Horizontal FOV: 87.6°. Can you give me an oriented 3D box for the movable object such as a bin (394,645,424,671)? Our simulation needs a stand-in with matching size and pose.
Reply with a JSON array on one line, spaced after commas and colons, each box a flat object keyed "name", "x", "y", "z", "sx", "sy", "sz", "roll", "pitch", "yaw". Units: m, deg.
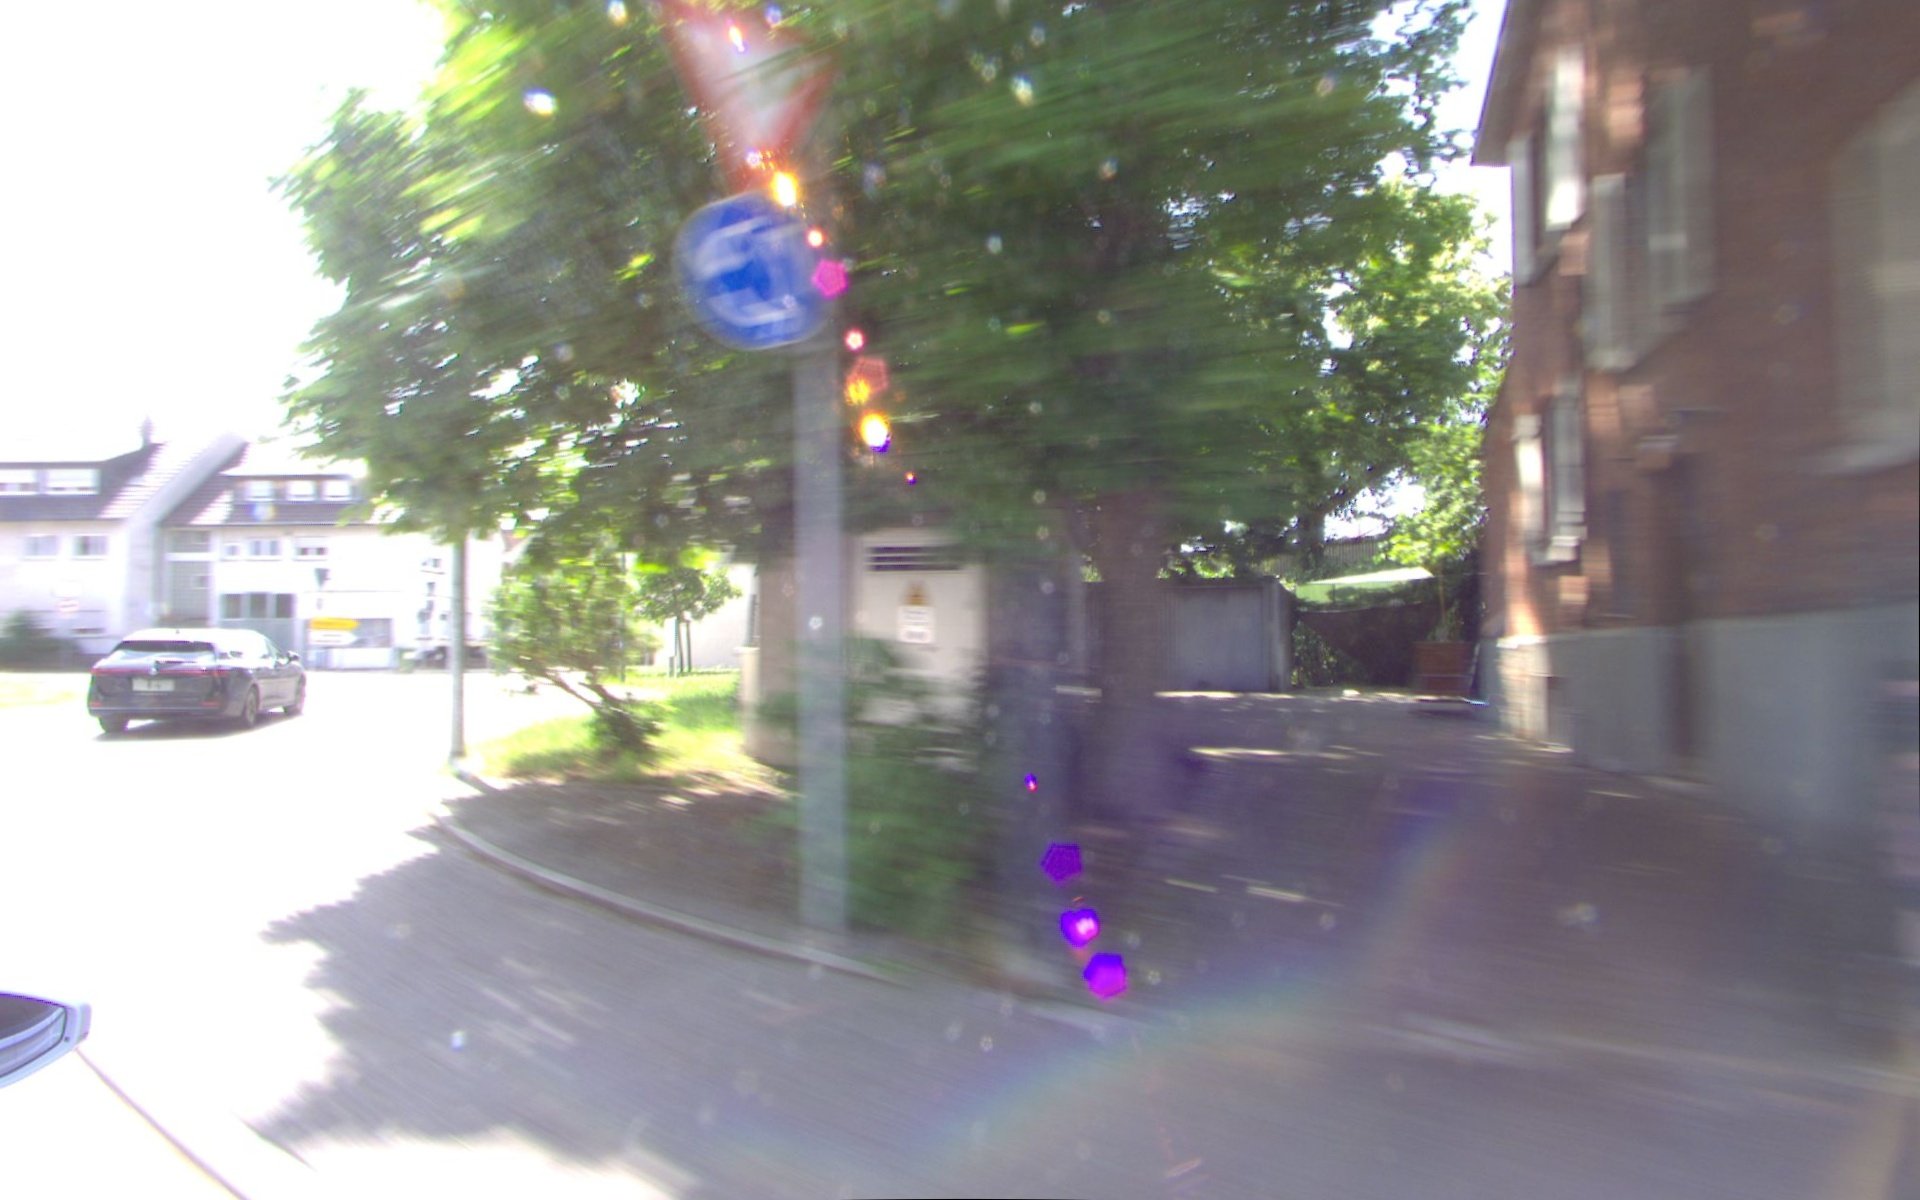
[{"name": "movable object such as a bin", "x": -22.609, "y": 2.365, "z": 41.081, "sx": 0.801, "sy": 1.058, "sz": 0.822, "roll": -1, "pitch": -2, "yaw": 37}]

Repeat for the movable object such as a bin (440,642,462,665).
[{"name": "movable object such as a bin", "x": -23.911, "y": 2.515, "z": 47.040, "sx": 0.672, "sy": 1.100, "sz": 0.645, "roll": 1, "pitch": -2, "yaw": 0}]

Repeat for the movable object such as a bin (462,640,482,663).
[{"name": "movable object such as a bin", "x": -23.879, "y": 2.512, "z": 49.013, "sx": 0.672, "sy": 1.096, "sz": 0.626, "roll": 1, "pitch": -2, "yaw": 0}]

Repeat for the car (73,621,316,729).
[{"name": "car", "x": -11.782, "y": 1.095, "z": 15.814, "sx": 1.817, "sy": 1.438, "sz": 4.670, "roll": 1, "pitch": -2, "yaw": -22}]

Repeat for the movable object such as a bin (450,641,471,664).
[{"name": "movable object such as a bin", "x": -23.887, "y": 2.522, "z": 47.888, "sx": 0.672, "sy": 1.100, "sz": 0.698, "roll": 1, "pitch": -2, "yaw": 0}]
